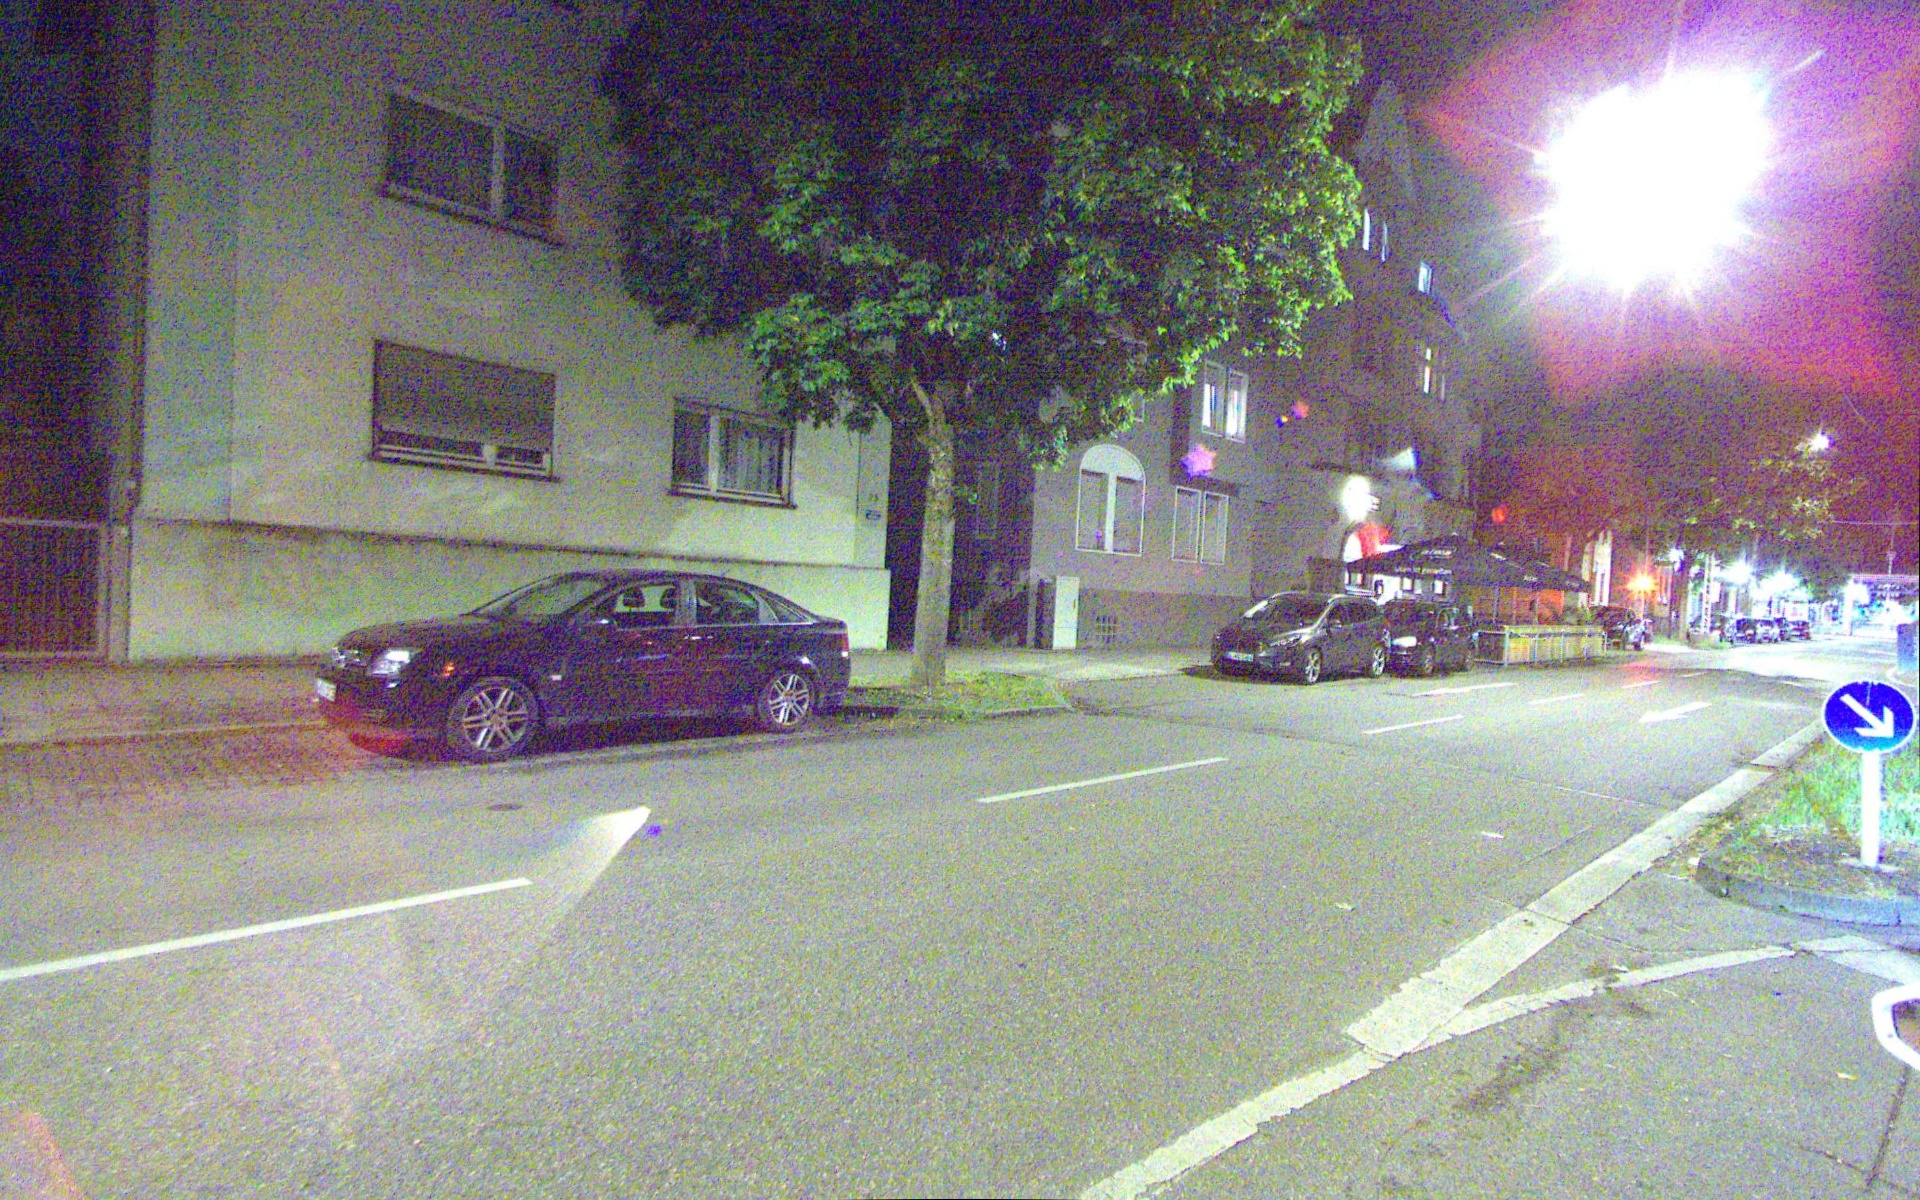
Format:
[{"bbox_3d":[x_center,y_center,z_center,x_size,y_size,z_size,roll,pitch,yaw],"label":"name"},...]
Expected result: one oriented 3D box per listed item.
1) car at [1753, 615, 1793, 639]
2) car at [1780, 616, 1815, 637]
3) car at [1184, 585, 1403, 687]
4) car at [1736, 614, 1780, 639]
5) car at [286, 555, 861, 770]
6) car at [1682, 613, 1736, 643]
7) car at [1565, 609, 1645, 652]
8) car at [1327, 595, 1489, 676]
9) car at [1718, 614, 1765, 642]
[{"bbox_3d":[53.947,1.797,66.613,1.634,1.450,3.975,3,1,45],"label":"car"},{"bbox_3d":[63.598,2.017,76.260,1.634,1.450,3.975,3,1,45],"label":"car"},{"bbox_3d":[6.098,0.592,18.099,4.423,1.491,1.880,1,4,-45],"label":"car"},{"bbox_3d":[49.239,1.628,61.953,1.634,1.450,3.975,3,1,45],"label":"car"},{"bbox_3d":[-3.059,0.433,8.763,1.604,1.401,4.428,3,1,42],"label":"car"},{"bbox_3d":[38.789,1.445,51.983,1.634,1.450,3.975,3,1,45],"label":"car"},{"bbox_3d":[23.712,1.103,36.878,1.634,1.450,3.975,3,1,45],"label":"car"},{"bbox_3d":[9.720,0.726,21.640,1.785,1.501,4.297,4,1,44],"label":"car"},{"bbox_3d":[44.833,1.607,57.609,1.634,1.450,3.975,3,1,45],"label":"car"}]
